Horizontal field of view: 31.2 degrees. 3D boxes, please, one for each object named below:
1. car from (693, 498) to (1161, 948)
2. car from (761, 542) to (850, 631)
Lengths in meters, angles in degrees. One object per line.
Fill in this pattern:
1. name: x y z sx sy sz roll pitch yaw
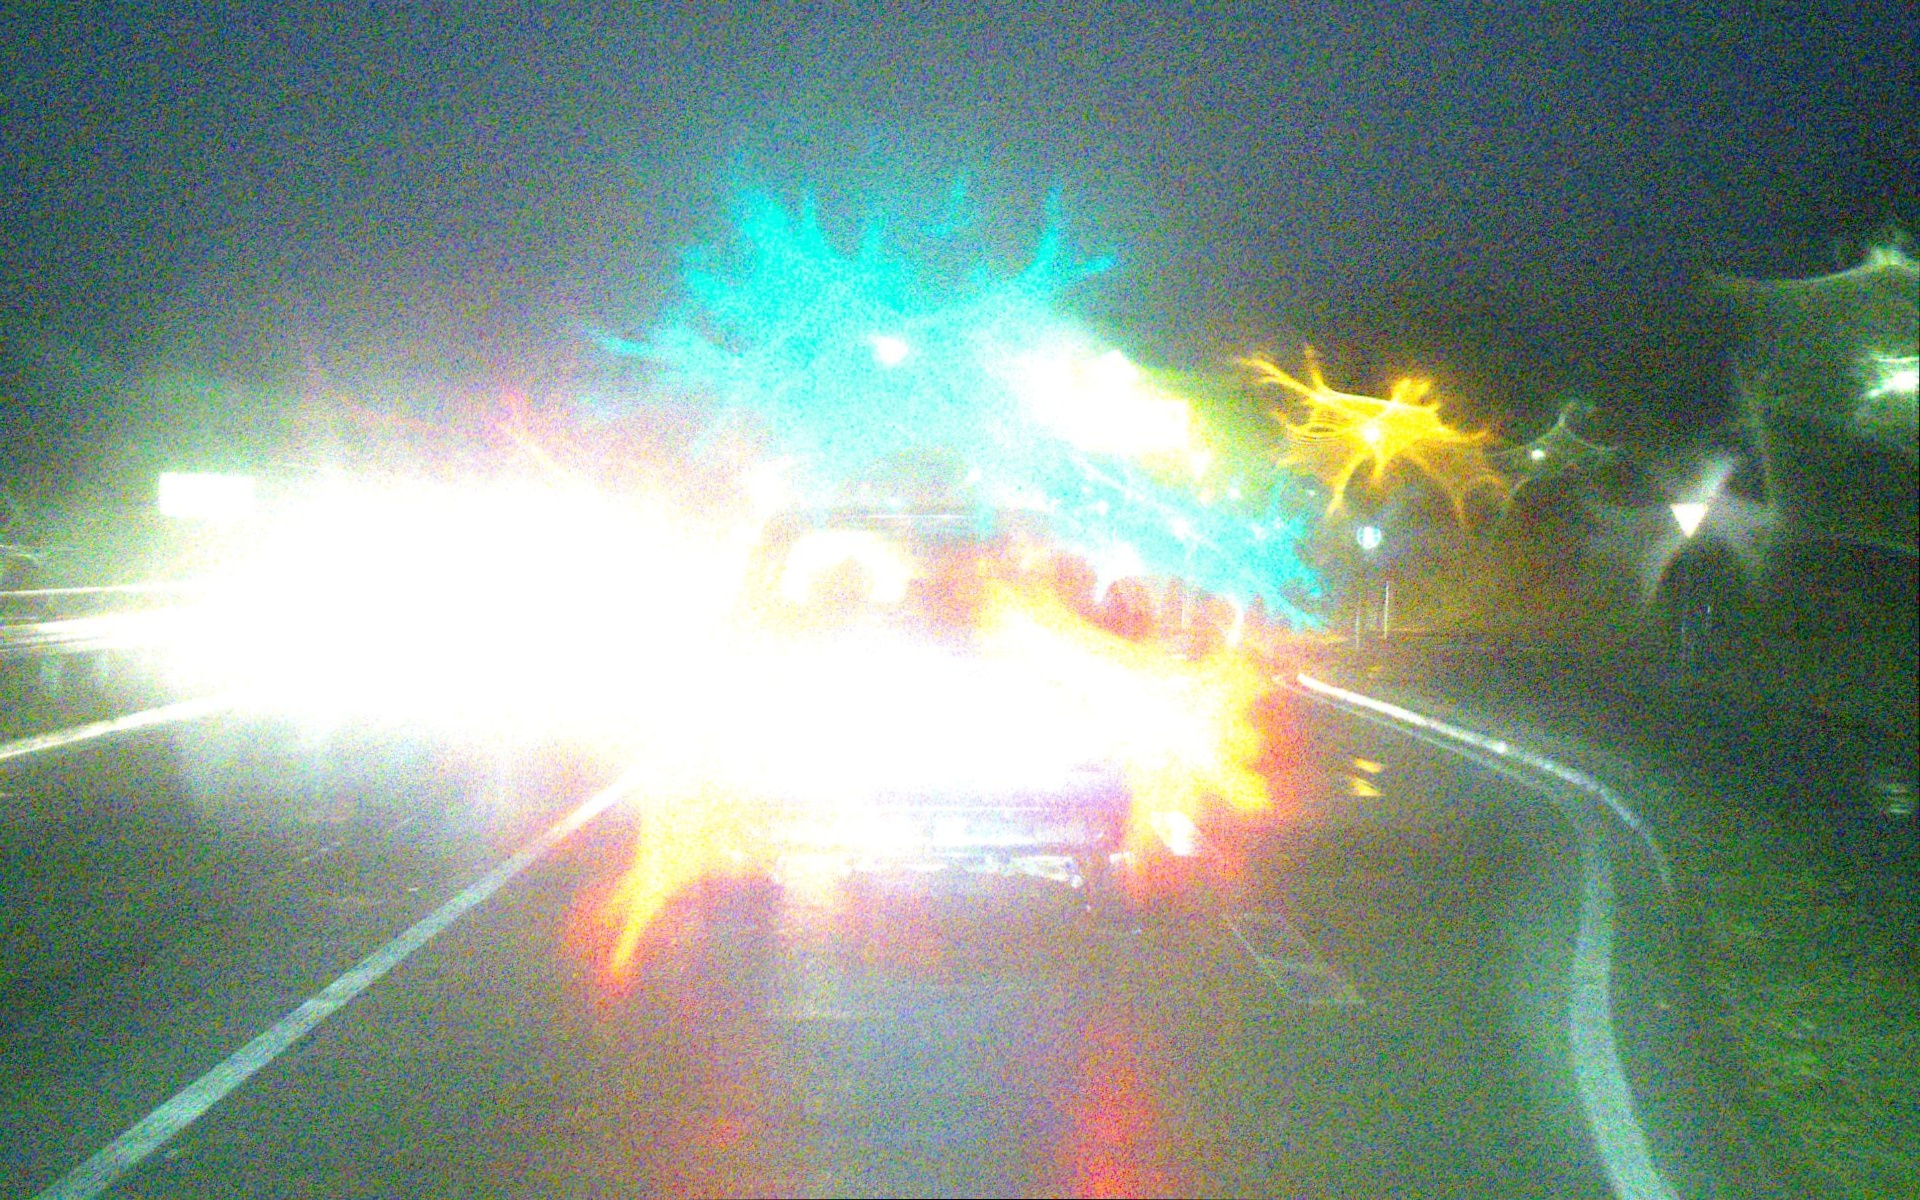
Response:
1. car: -0.186 0.459 15.162 1.775 1.706 4.000 1 0 -2
2. car: -3.815 -0.306 84.221 1.993 2.007 4.000 -1 -2 -5
